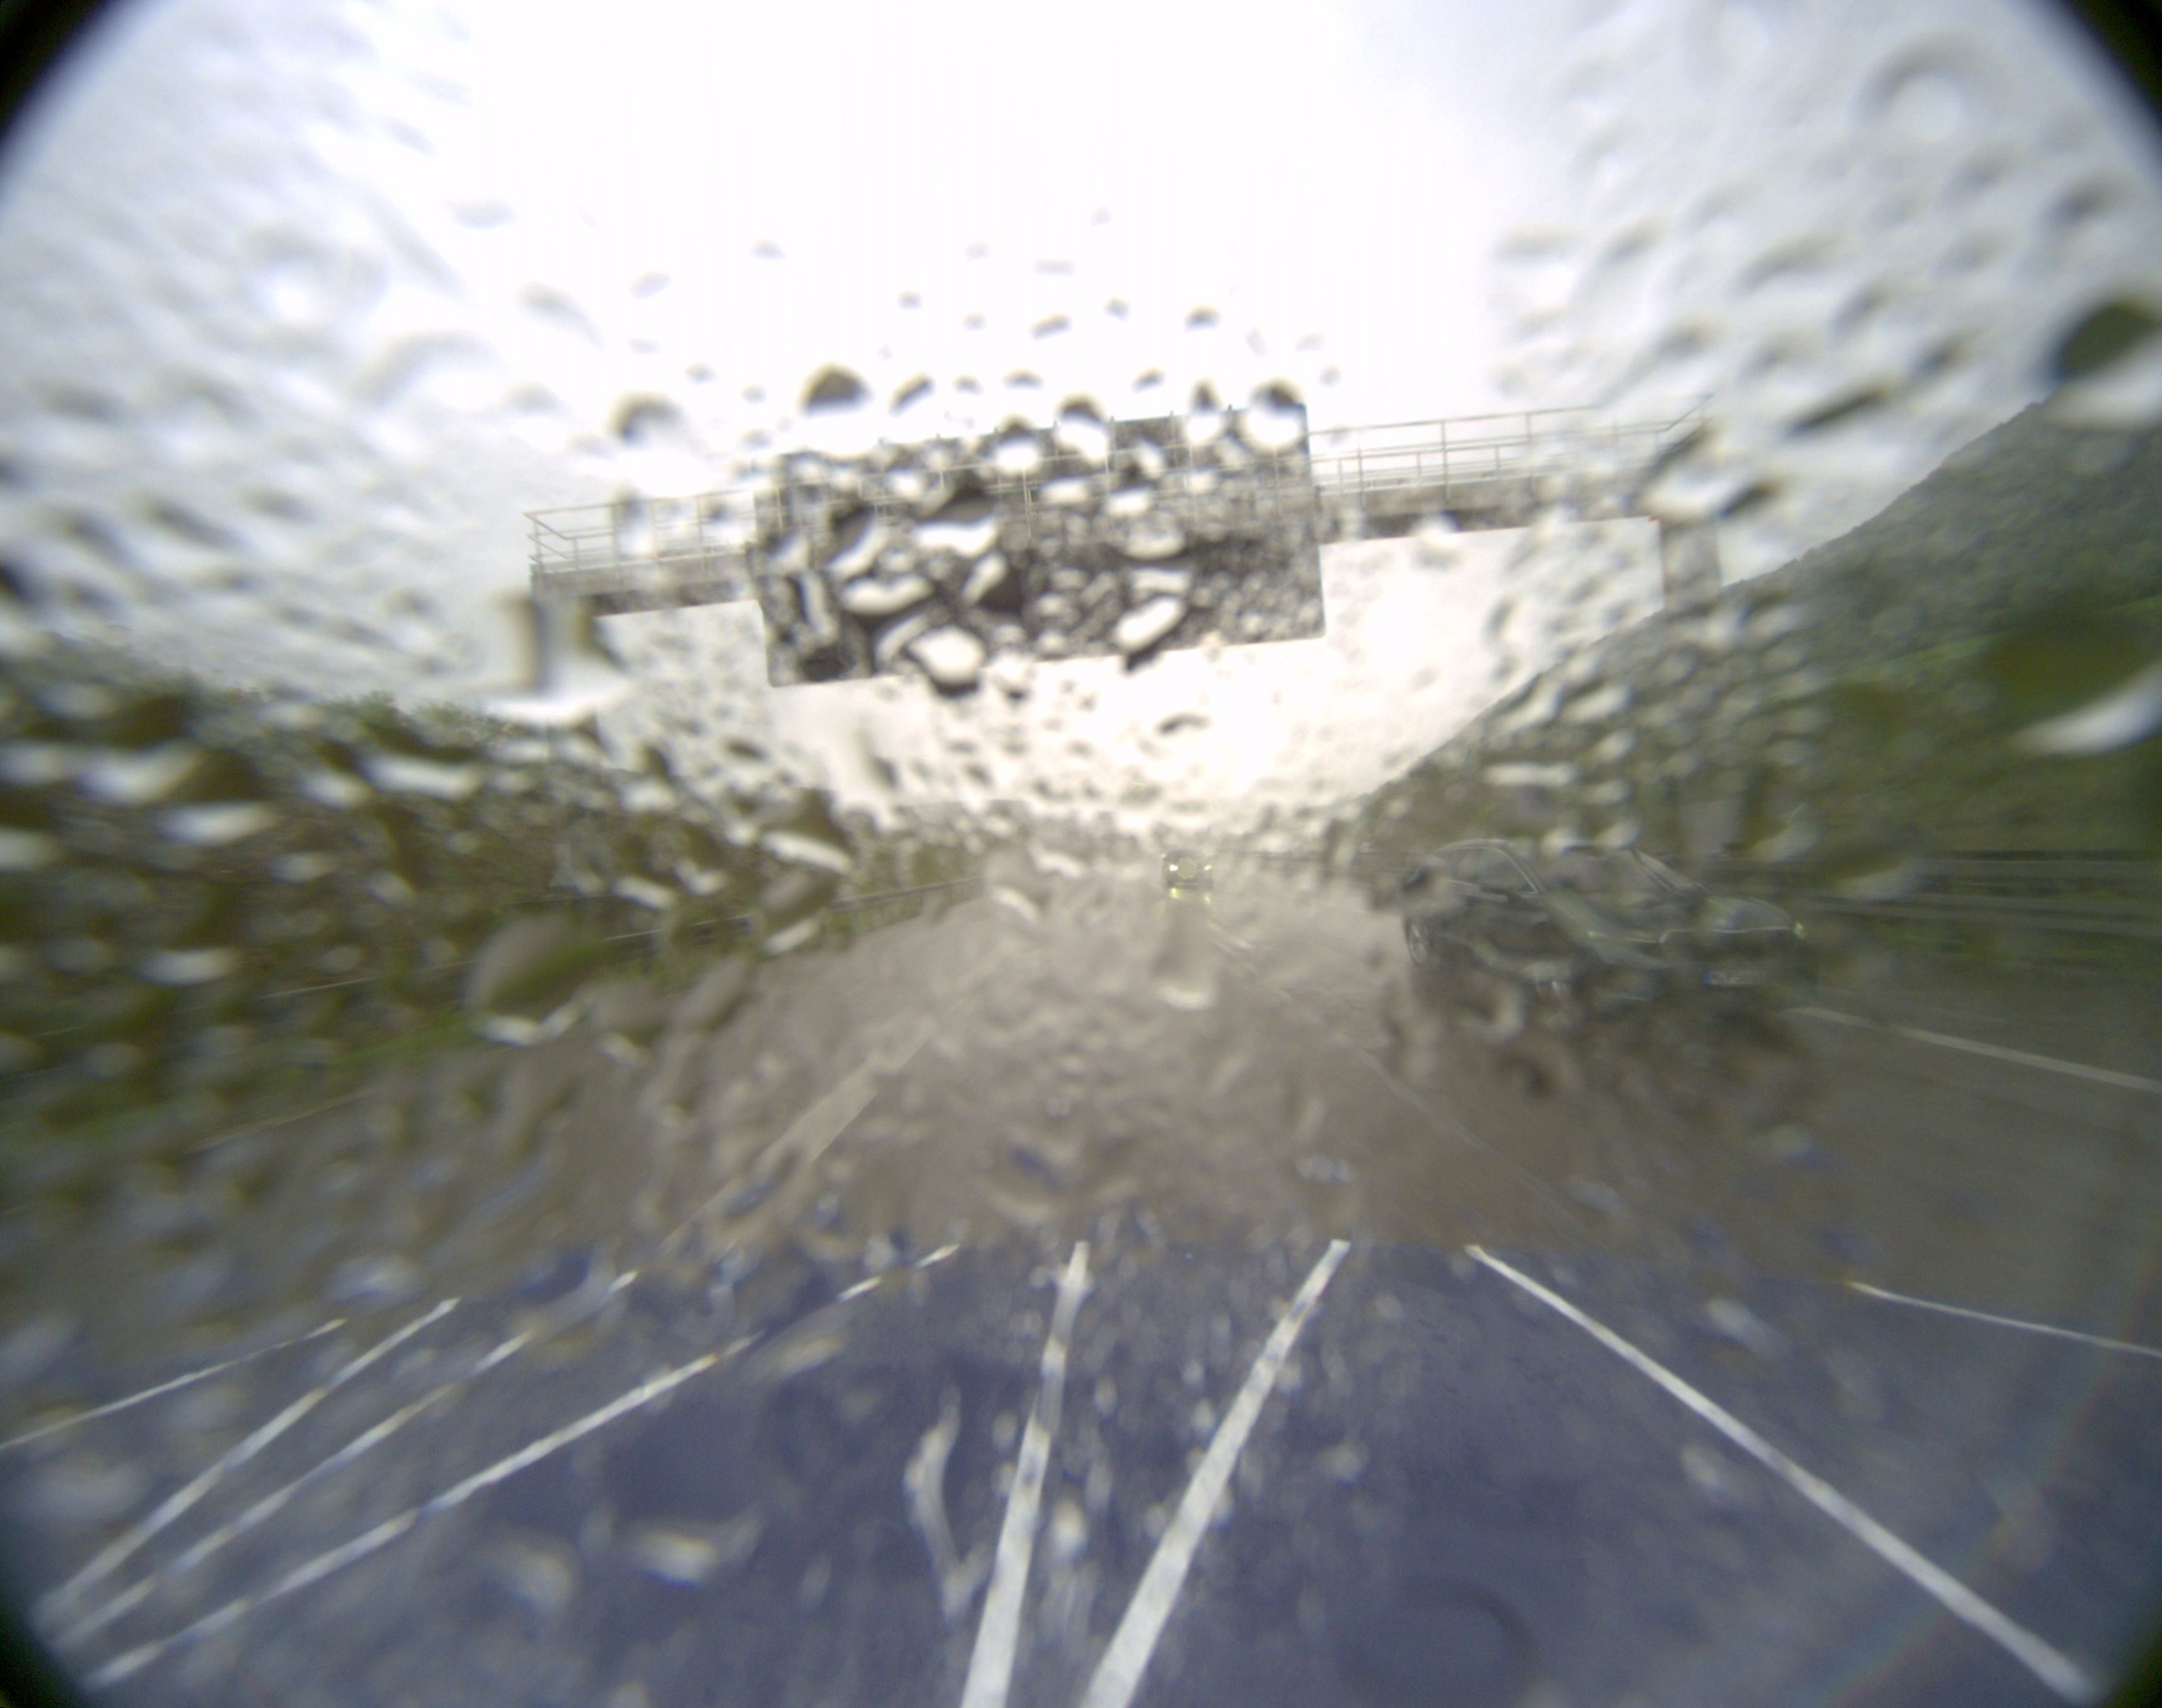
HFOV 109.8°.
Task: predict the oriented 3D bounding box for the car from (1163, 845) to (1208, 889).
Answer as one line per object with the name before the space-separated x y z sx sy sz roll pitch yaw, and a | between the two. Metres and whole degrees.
car | 4.627 0.531 33.976 1.814 1.692 3.750 -3 1 6

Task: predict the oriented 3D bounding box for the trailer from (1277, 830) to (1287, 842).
trailer | 63.487 -5.572 239.767 2.817 3.660 13.258 -2 1 14

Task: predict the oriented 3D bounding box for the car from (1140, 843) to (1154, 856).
car | 10.595 -0.722 122.558 1.998 2.001 4.001 -2 -1 3

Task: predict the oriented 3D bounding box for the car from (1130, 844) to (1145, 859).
car | 7.791 -0.361 104.325 1.835 2.002 3.939 -4 1 3

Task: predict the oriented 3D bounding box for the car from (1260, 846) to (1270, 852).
car | 41.934 -1.139 173.160 1.797 1.412 3.777 -2 1 8

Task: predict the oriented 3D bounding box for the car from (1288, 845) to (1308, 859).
car | 26.907 -0.260 94.315 1.710 1.638 4.002 -2 1 8

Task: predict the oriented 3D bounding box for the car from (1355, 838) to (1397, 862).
car | 22.751 -0.294 58.687 1.780 1.682 4.000 -2 0 2

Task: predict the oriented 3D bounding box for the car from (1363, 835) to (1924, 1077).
car | 4.900 0.692 7.823 1.999 1.673 4.907 -1 1 -3
